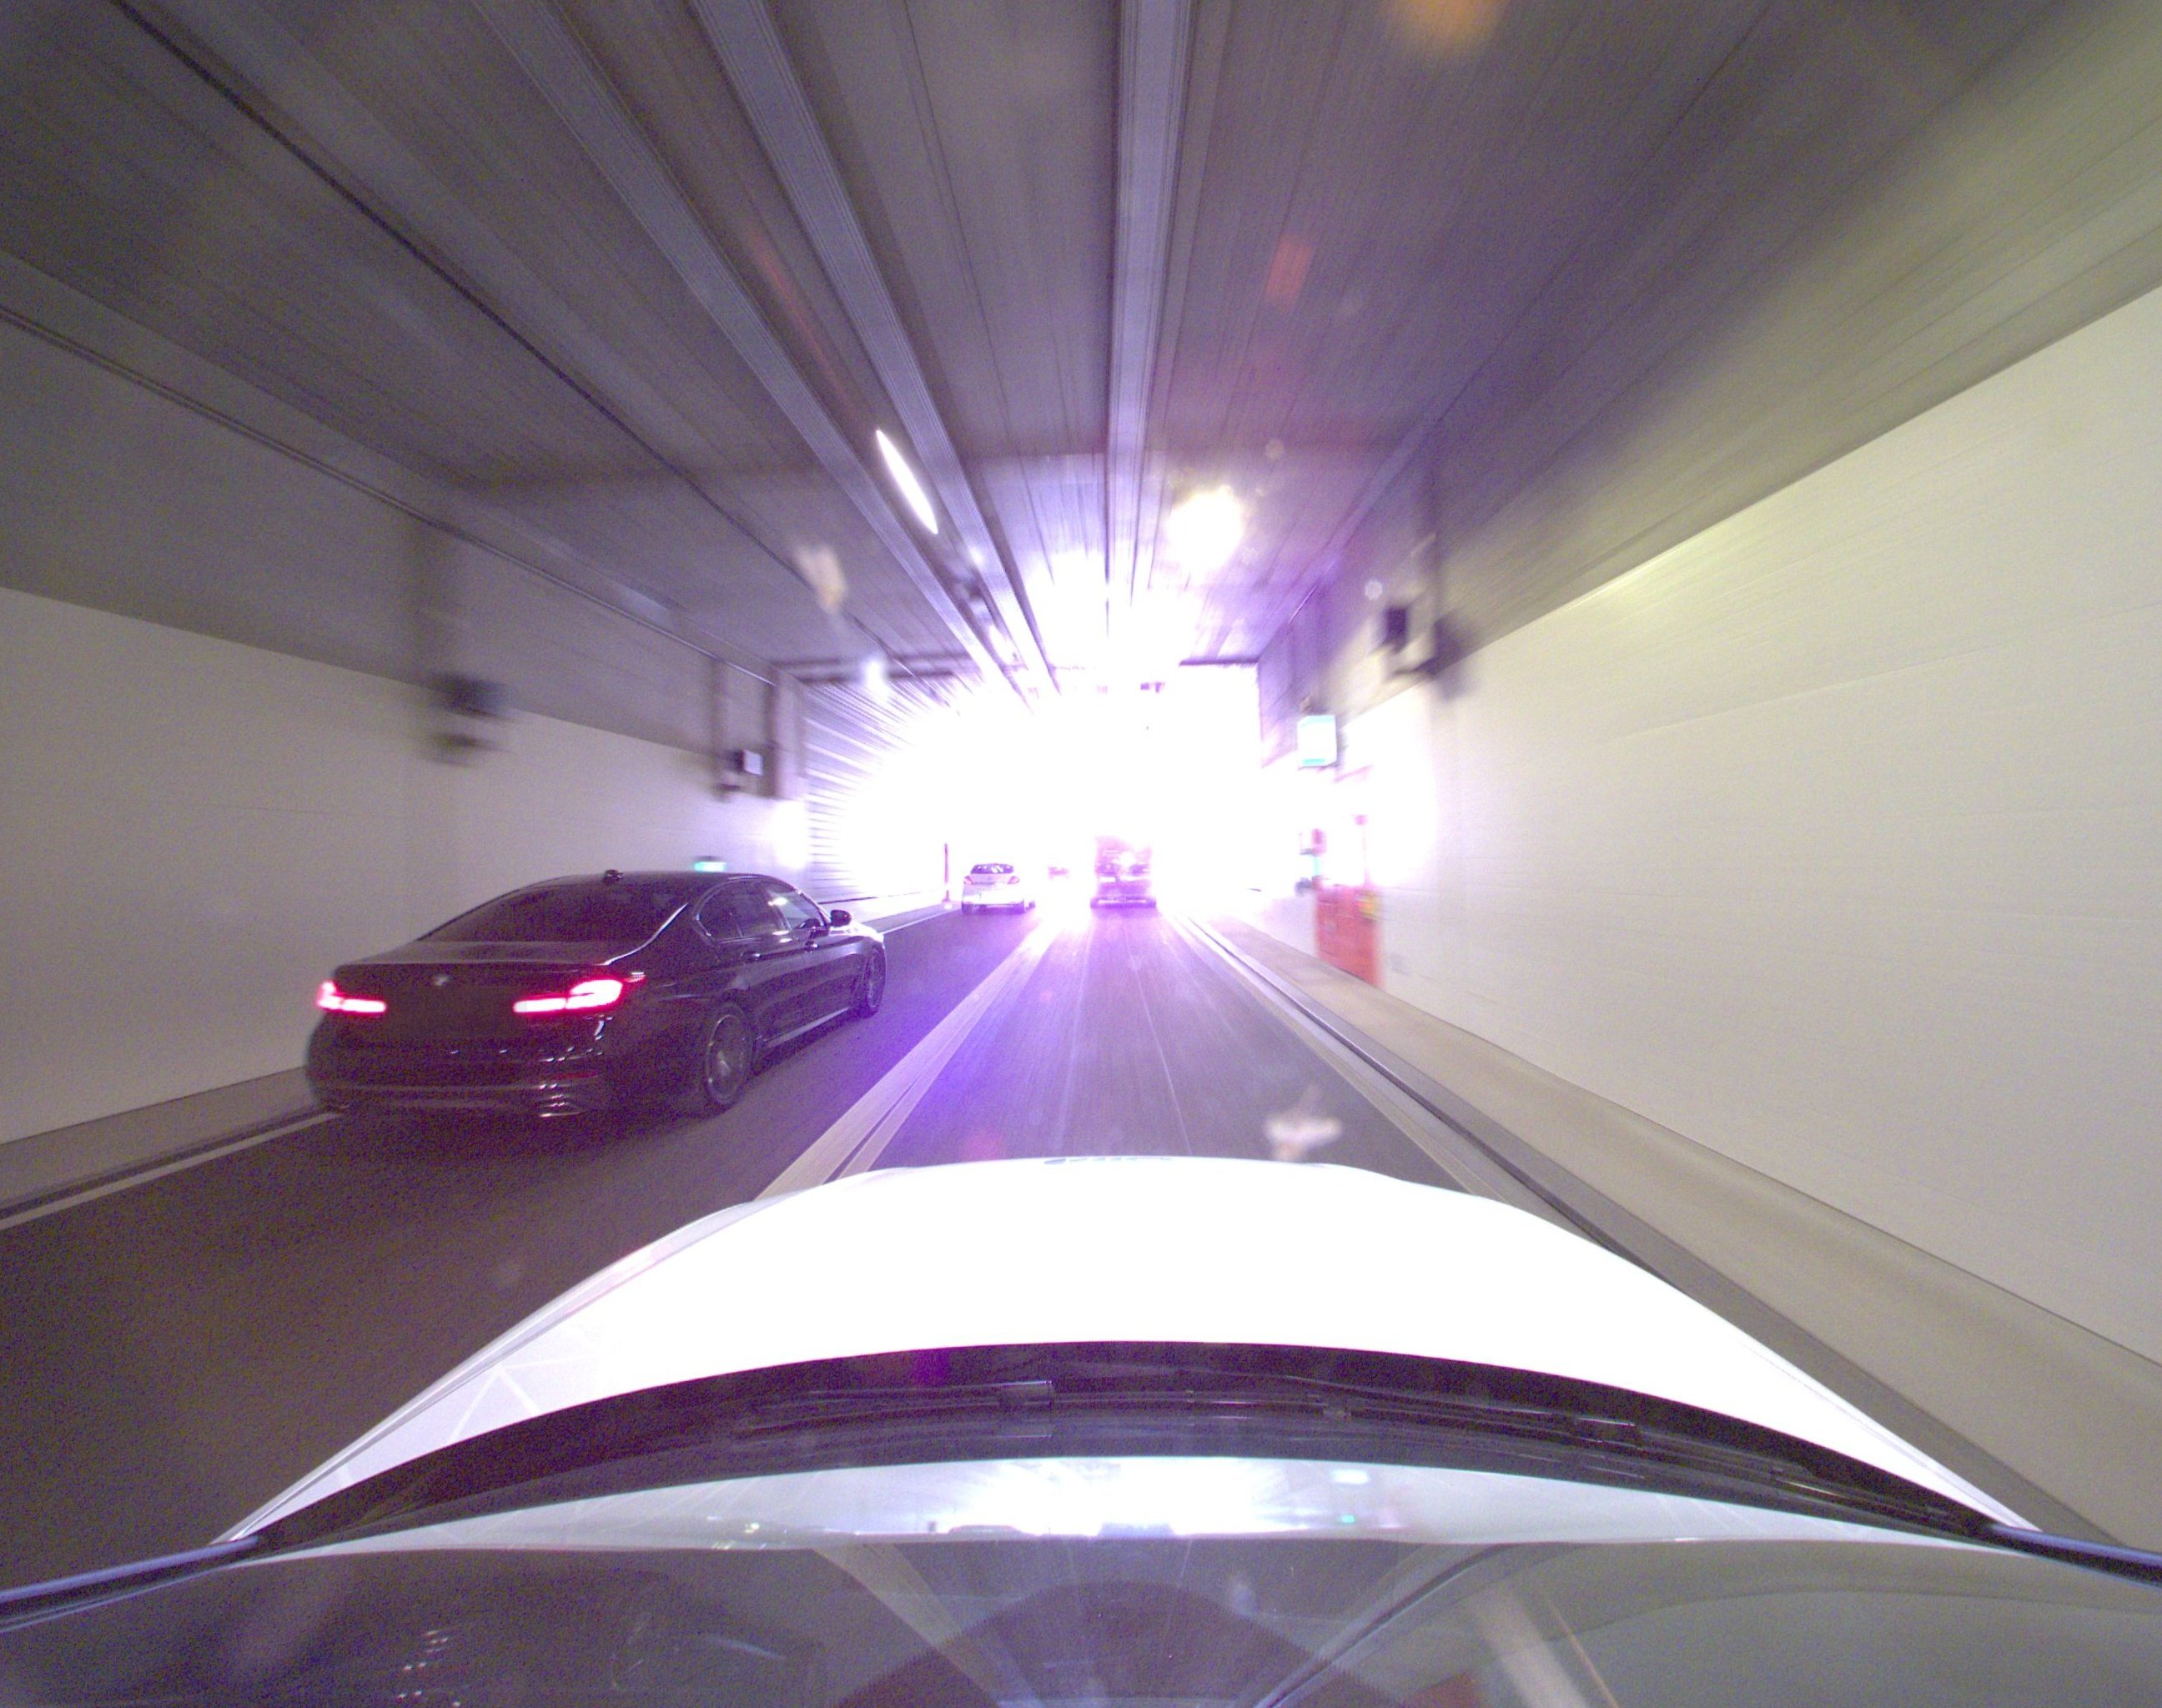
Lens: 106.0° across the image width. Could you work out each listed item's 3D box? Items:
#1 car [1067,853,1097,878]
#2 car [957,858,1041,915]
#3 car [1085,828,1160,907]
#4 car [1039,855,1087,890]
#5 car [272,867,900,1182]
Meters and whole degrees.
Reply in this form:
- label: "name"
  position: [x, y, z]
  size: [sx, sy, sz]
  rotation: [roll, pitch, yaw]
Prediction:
- label: "car"
  position: [0.104, 0.752, 52.682]
  size: [1.869, 1.582, 4.221]
  rotation: [0, -1, 1]
- label: "car"
  position: [-2.204, 0.856, 22.933]
  size: [1.701, 1.413, 3.978]
  rotation: [-1, 0, 4]
- label: "car"
  position: [1.311, 0.381, 25.615]
  size: [2.149, 2.266, 4.640]
  rotation: [0, 0, 3]
- label: "car"
  position: [-0.778, 0.799, 37.623]
  size: [1.806, 1.512, 4.225]
  rotation: [0, 0, 4]
- label: "car"
  position: [-2.892, 0.844, 6.281]
  size: [1.689, 1.422, 4.854]
  rotation: [0, 0, 3]
